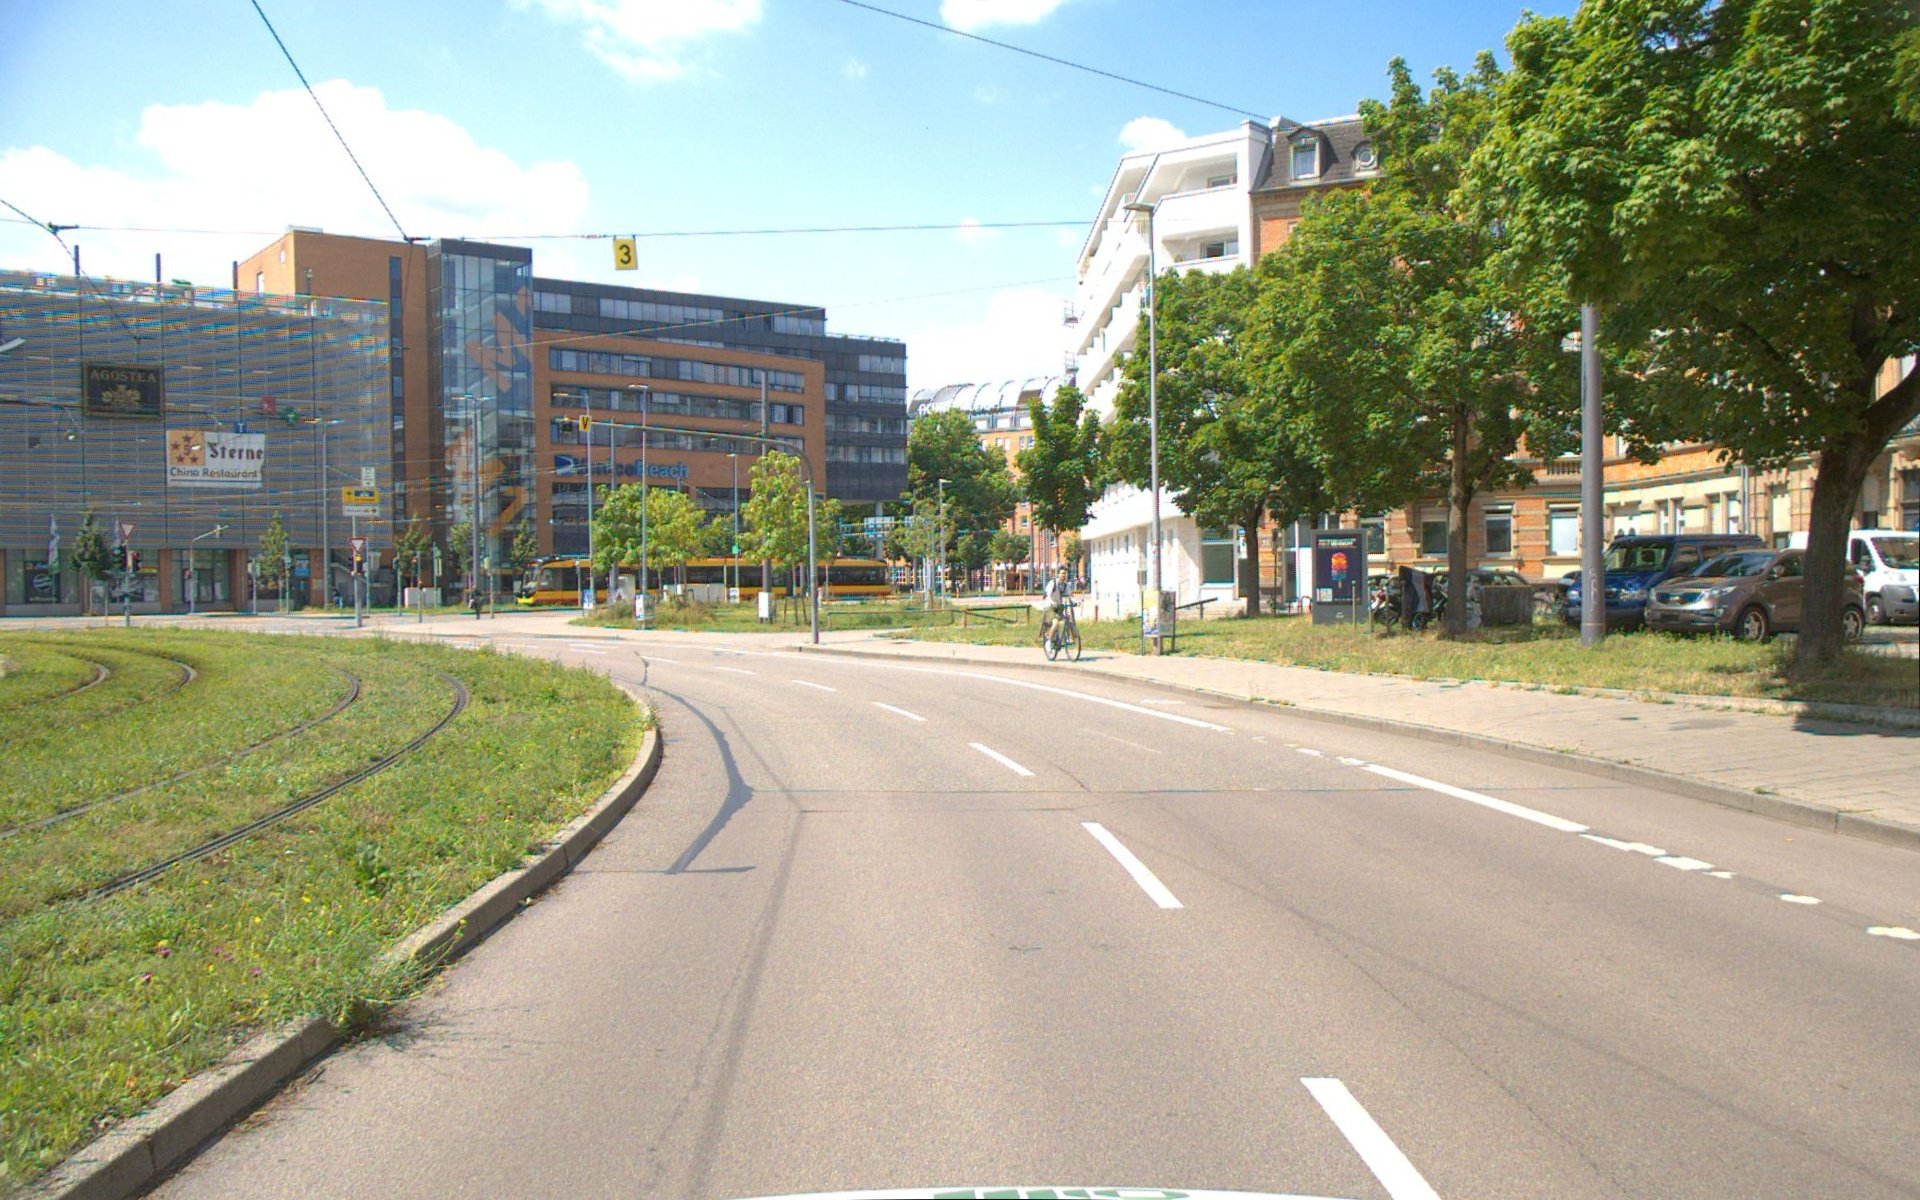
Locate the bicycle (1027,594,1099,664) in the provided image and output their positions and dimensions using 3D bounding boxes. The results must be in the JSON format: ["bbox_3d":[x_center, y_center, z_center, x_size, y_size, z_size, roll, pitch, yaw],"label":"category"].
[{"bbox_3d":[1.992,0.548,32.265,0.683,1.263,1.829,-4,2,-19],"label":"bicycle"}]

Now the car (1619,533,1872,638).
[{"bbox_3d":[13.531,-0.254,28.456,4.113,1.685,1.899,0,0,-28],"label":"car"}]

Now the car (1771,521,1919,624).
[{"bbox_3d":[21.267,-0.614,38.531,2.068,2.216,5.393,0,0,-1],"label":"car"}]

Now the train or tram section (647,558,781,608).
[{"bbox_3d":[-18.601,-1.312,125.975,3.008,3.666,10.935,0,0,40],"label":"train or tram section"}]

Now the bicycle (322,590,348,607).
[{"bbox_3d":[-47.215,-0.129,125.013,1.748,1.245,0.576,0,0,-38],"label":"bicycle"}]

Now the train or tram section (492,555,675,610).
[{"bbox_3d":[-26.318,-1.193,116.620,3.167,3.662,13.430,0,0,40],"label":"train or tram section"}]

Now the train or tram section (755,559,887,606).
[{"bbox_3d":[-11.162,-1.384,135.118,3.006,3.684,12.577,0,0,38],"label":"train or tram section"}]

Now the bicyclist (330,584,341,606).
[{"bbox_3d":[-47.226,-0.352,125.008,0.657,1.652,0.543,0,0,-38],"label":"bicyclist"}]

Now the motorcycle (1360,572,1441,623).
[{"bbox_3d":[10.611,-0.068,39.859,1.747,1.187,0.639,-1,0,-3],"label":"motorcycle"}]

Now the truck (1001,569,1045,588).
[{"bbox_3d":[7.330,-2.495,193.116,1.983,2.122,5.440,0,0,-41],"label":"truck"}]

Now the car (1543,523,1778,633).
[{"bbox_3d":[13.343,-0.410,31.440,4.570,1.961,1.895,0,0,-32],"label":"car"}]

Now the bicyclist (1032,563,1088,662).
[{"bbox_3d":[1.953,0.234,32.331,0.684,1.856,0.951,-4,2,-19],"label":"bicyclist"}]

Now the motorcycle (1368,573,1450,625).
[{"bbox_3d":[10.624,-0.026,39.126,1.747,1.187,0.639,-1,0,-3],"label":"motorcycle"}]

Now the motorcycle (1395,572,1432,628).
[{"bbox_3d":[9.950,-0.015,36.355,0.624,1.187,1.908,-1,1,11],"label":"motorcycle"}]

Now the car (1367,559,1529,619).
[{"bbox_3d":[12.979,-0.306,43.937,4.203,1.452,1.787,-2,1,-31],"label":"car"}]

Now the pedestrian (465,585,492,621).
[{"bbox_3d":[-24.018,0.156,82.498,0.897,1.732,0.808,-2,1,23],"label":"pedestrian"}]
